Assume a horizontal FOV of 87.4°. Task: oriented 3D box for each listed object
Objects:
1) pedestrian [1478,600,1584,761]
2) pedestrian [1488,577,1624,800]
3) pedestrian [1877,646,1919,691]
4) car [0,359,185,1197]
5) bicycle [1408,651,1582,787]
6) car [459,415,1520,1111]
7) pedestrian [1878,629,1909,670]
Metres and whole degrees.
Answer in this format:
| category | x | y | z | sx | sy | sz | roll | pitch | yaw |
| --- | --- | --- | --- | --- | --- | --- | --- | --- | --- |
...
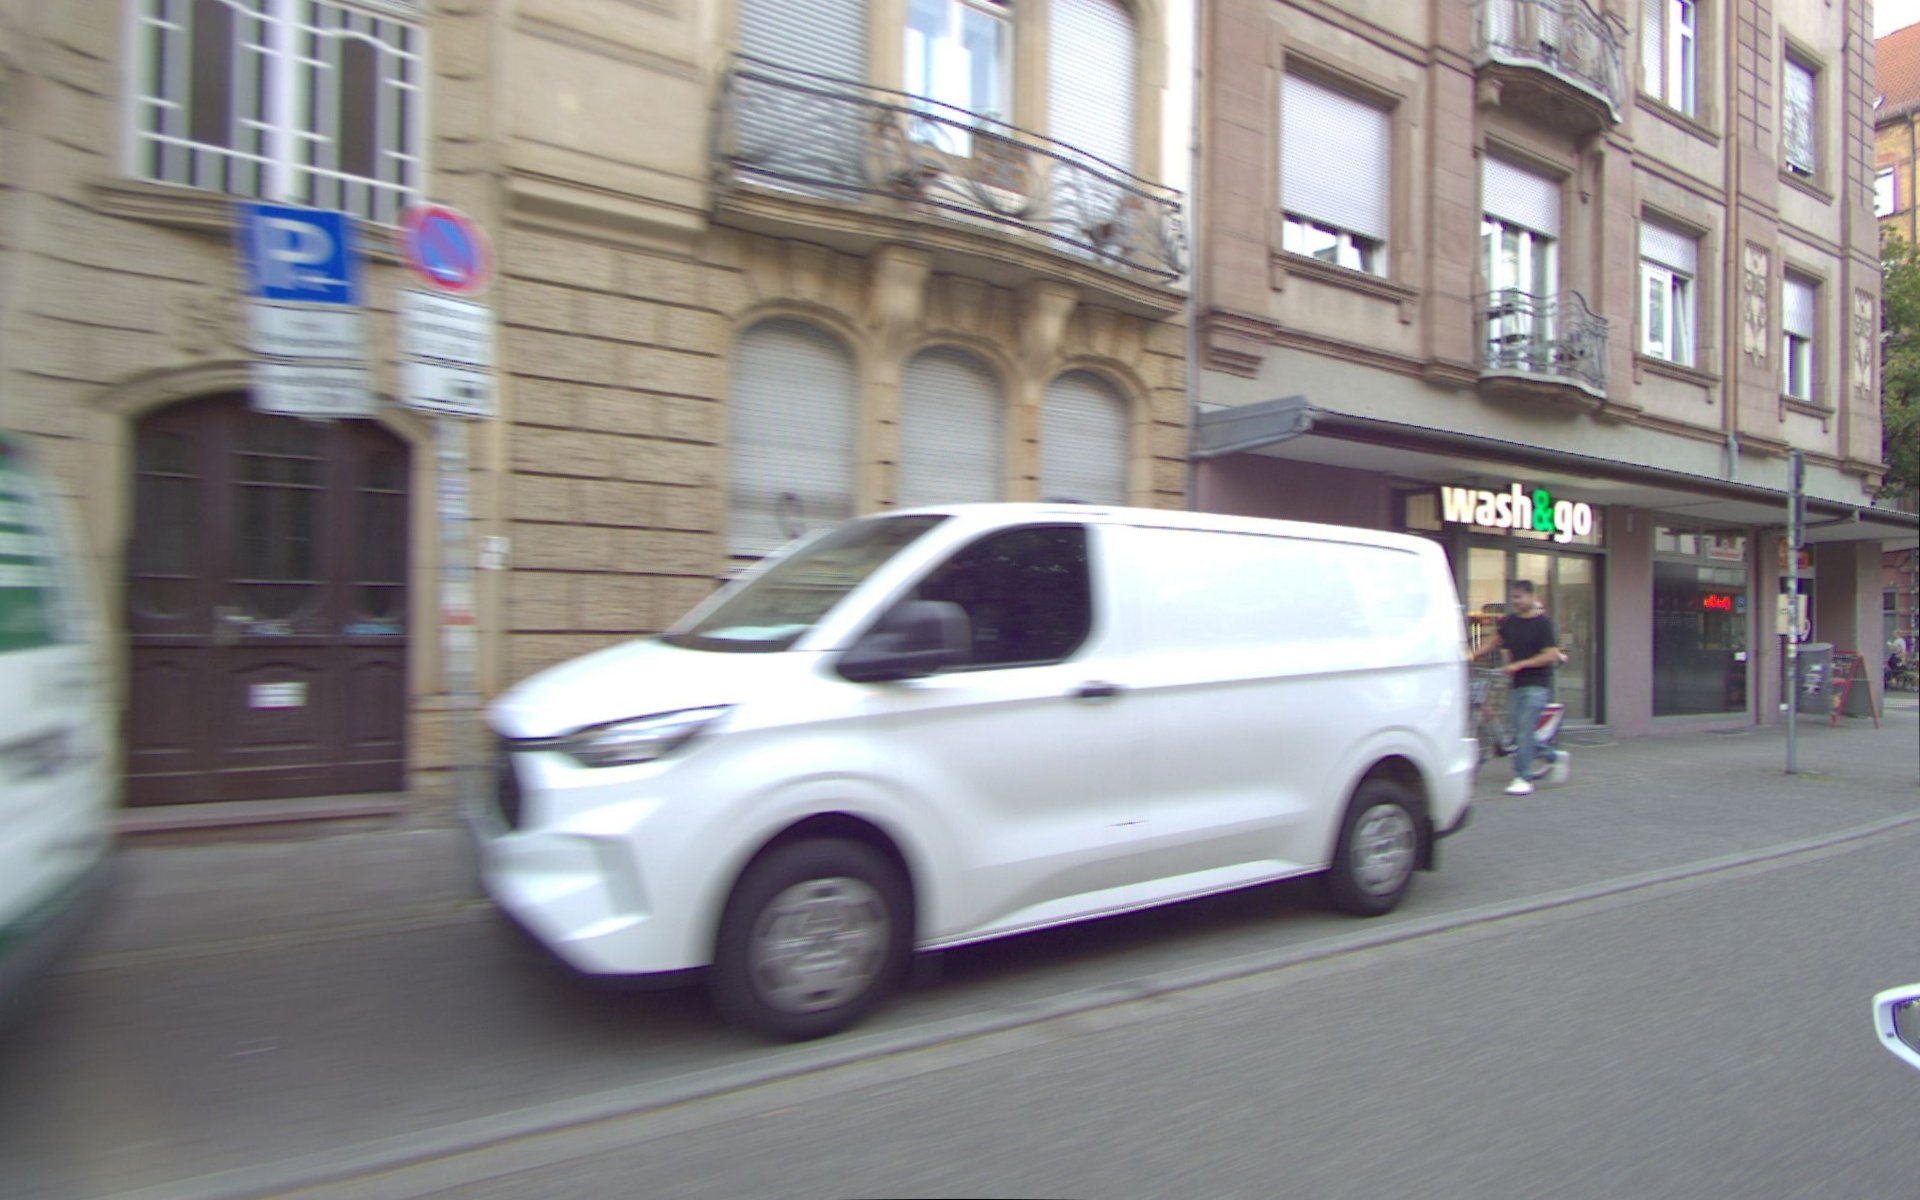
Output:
| category | x | y | z | sx | sy | sz | roll | pitch | yaw |
| --- | --- | --- | --- | --- | --- | --- | --- | --- | --- |
| pedestrian | 6.277 | 0.855 | 11.065 | 0.726 | 1.700 | 0.707 | 1 | 0 | -26 |
| pedestrian | 5.220 | 0.751 | 8.800 | 0.984 | 1.848 | 0.534 | 2 | 0 | -26 |
| pedestrian | 27.976 | 2.033 | 29.955 | 0.660 | 1.279 | 0.750 | 2 | -1 | -30 |
| car | -4.722 | 0.359 | 1.962 | 4.787 | 1.947 | 1.829 | 2 | -1 | -29 |
| bicycle | 4.965 | 1.074 | 9.294 | 1.761 | 1.157 | 0.470 | 2 | -1 | -27 |
| car | 0.367 | 0.535 | 5.023 | 4.969 | 1.947 | 2.098 | 2 | -1 | -31 |
| pedestrian | 30.062 | 1.585 | 32.357 | 0.564 | 1.279 | 0.456 | 2 | 0 | -5 |
